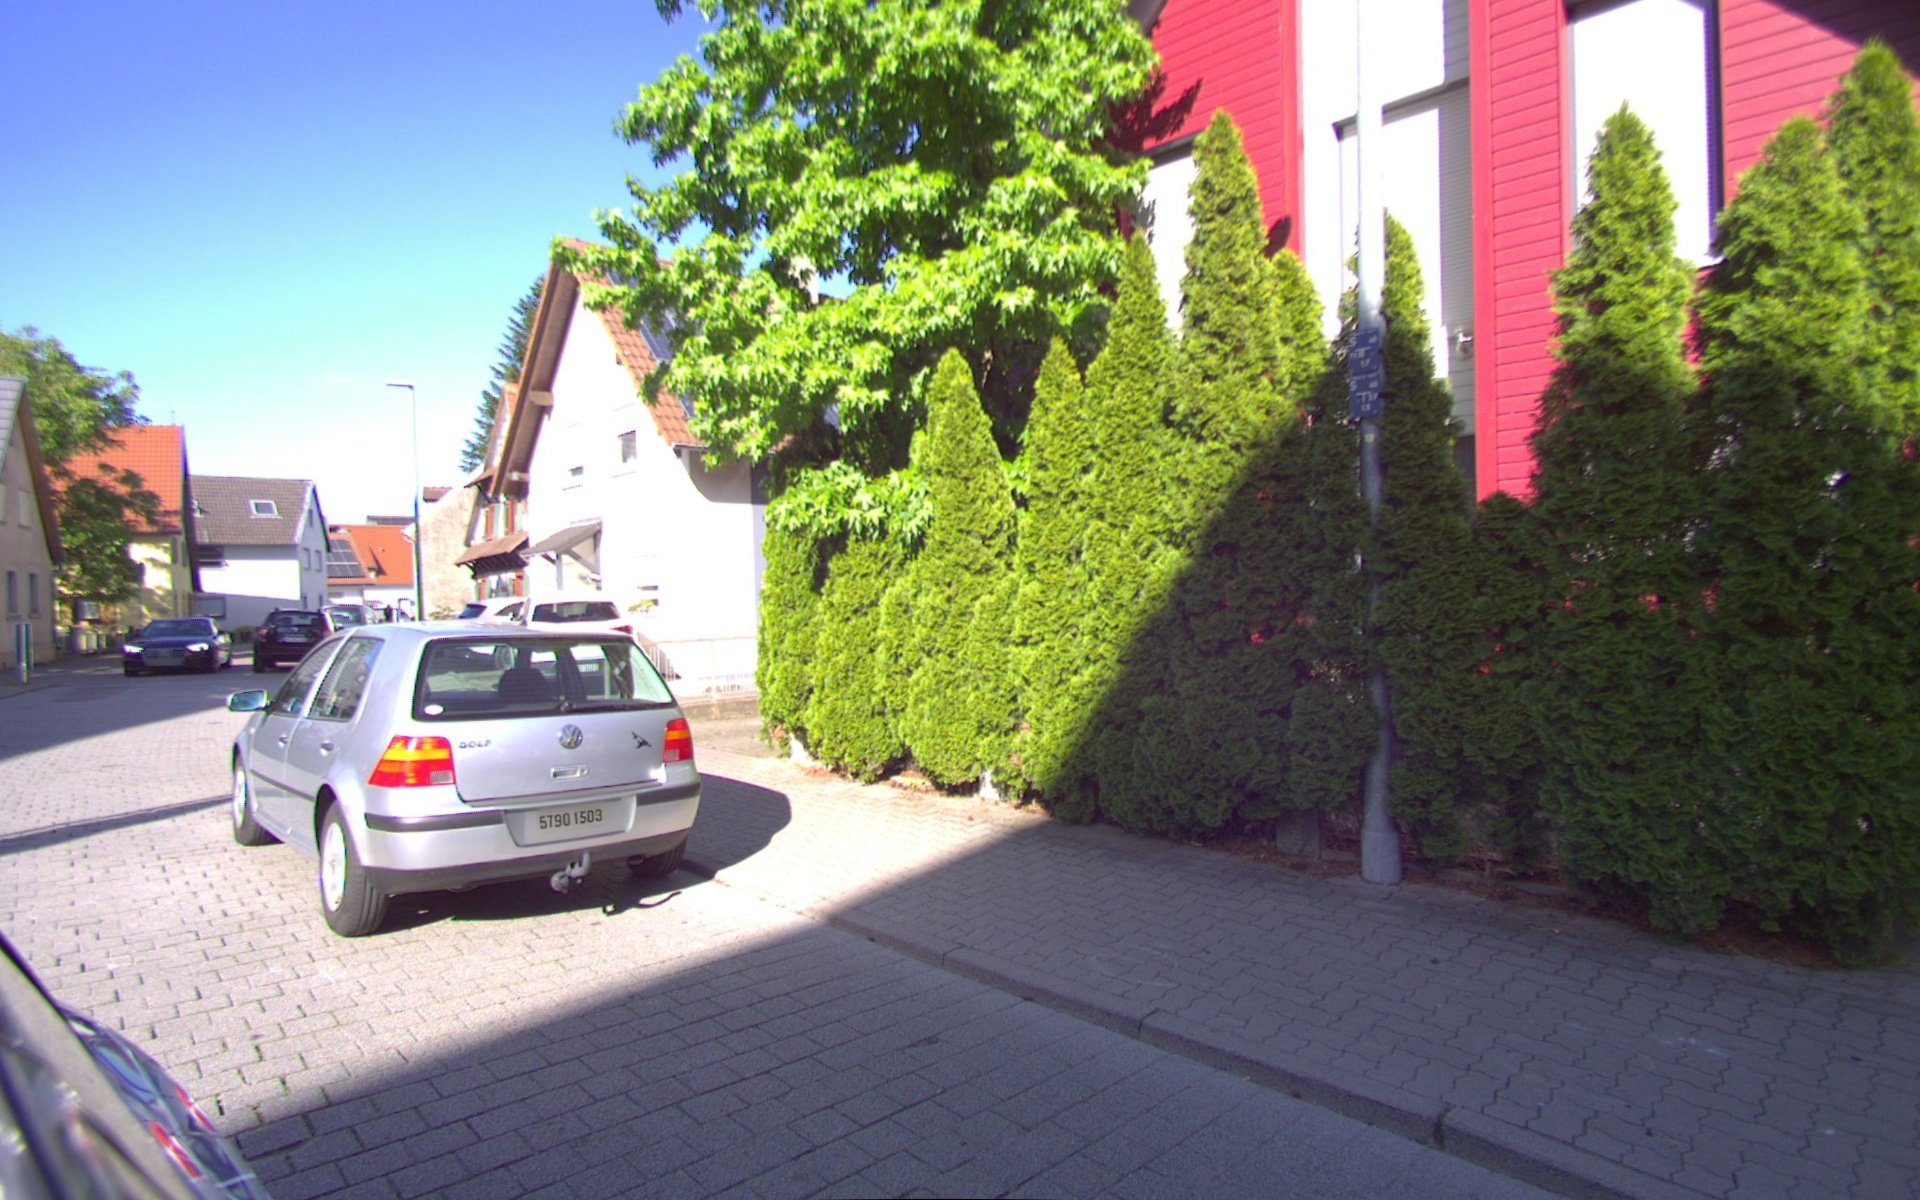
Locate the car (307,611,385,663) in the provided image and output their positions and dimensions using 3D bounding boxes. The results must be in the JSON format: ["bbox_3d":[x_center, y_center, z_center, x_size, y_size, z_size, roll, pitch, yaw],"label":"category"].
[{"bbox_3d":[-22.375,1.329,37.029,1.806,1.803,4.367,0,-2,-23],"label":"car"}]

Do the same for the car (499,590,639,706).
[{"bbox_3d":[-6.696,0.709,17.058,1.791,1.607,4.460,-2,1,-26],"label":"car"}]

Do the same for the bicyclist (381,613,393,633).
[{"bbox_3d":[-37.468,1.520,66.227,0.573,1.330,0.610,1,-1,-21],"label":"bicyclist"}]

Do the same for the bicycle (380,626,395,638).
[{"bbox_3d":[-37.447,2.100,66.233,0.573,0.767,1.805,1,-1,-21],"label":"bicycle"}]

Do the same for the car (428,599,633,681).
[{"bbox_3d":[-10.029,0.884,23.782,3.941,1.601,2.002,-3,1,-44],"label":"car"}]

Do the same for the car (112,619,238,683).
[{"bbox_3d":[-19.950,1.266,25.904,1.777,1.489,4.357,1,-2,-27],"label":"car"}]

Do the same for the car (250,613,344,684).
[{"bbox_3d":[-17.546,1.206,26.963,1.807,1.683,4.366,0,0,-29],"label":"car"}]

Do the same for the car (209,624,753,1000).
[{"bbox_3d":[-2.970,0.848,5.821,1.651,1.413,3.895,1,-2,-44],"label":"car"}]
